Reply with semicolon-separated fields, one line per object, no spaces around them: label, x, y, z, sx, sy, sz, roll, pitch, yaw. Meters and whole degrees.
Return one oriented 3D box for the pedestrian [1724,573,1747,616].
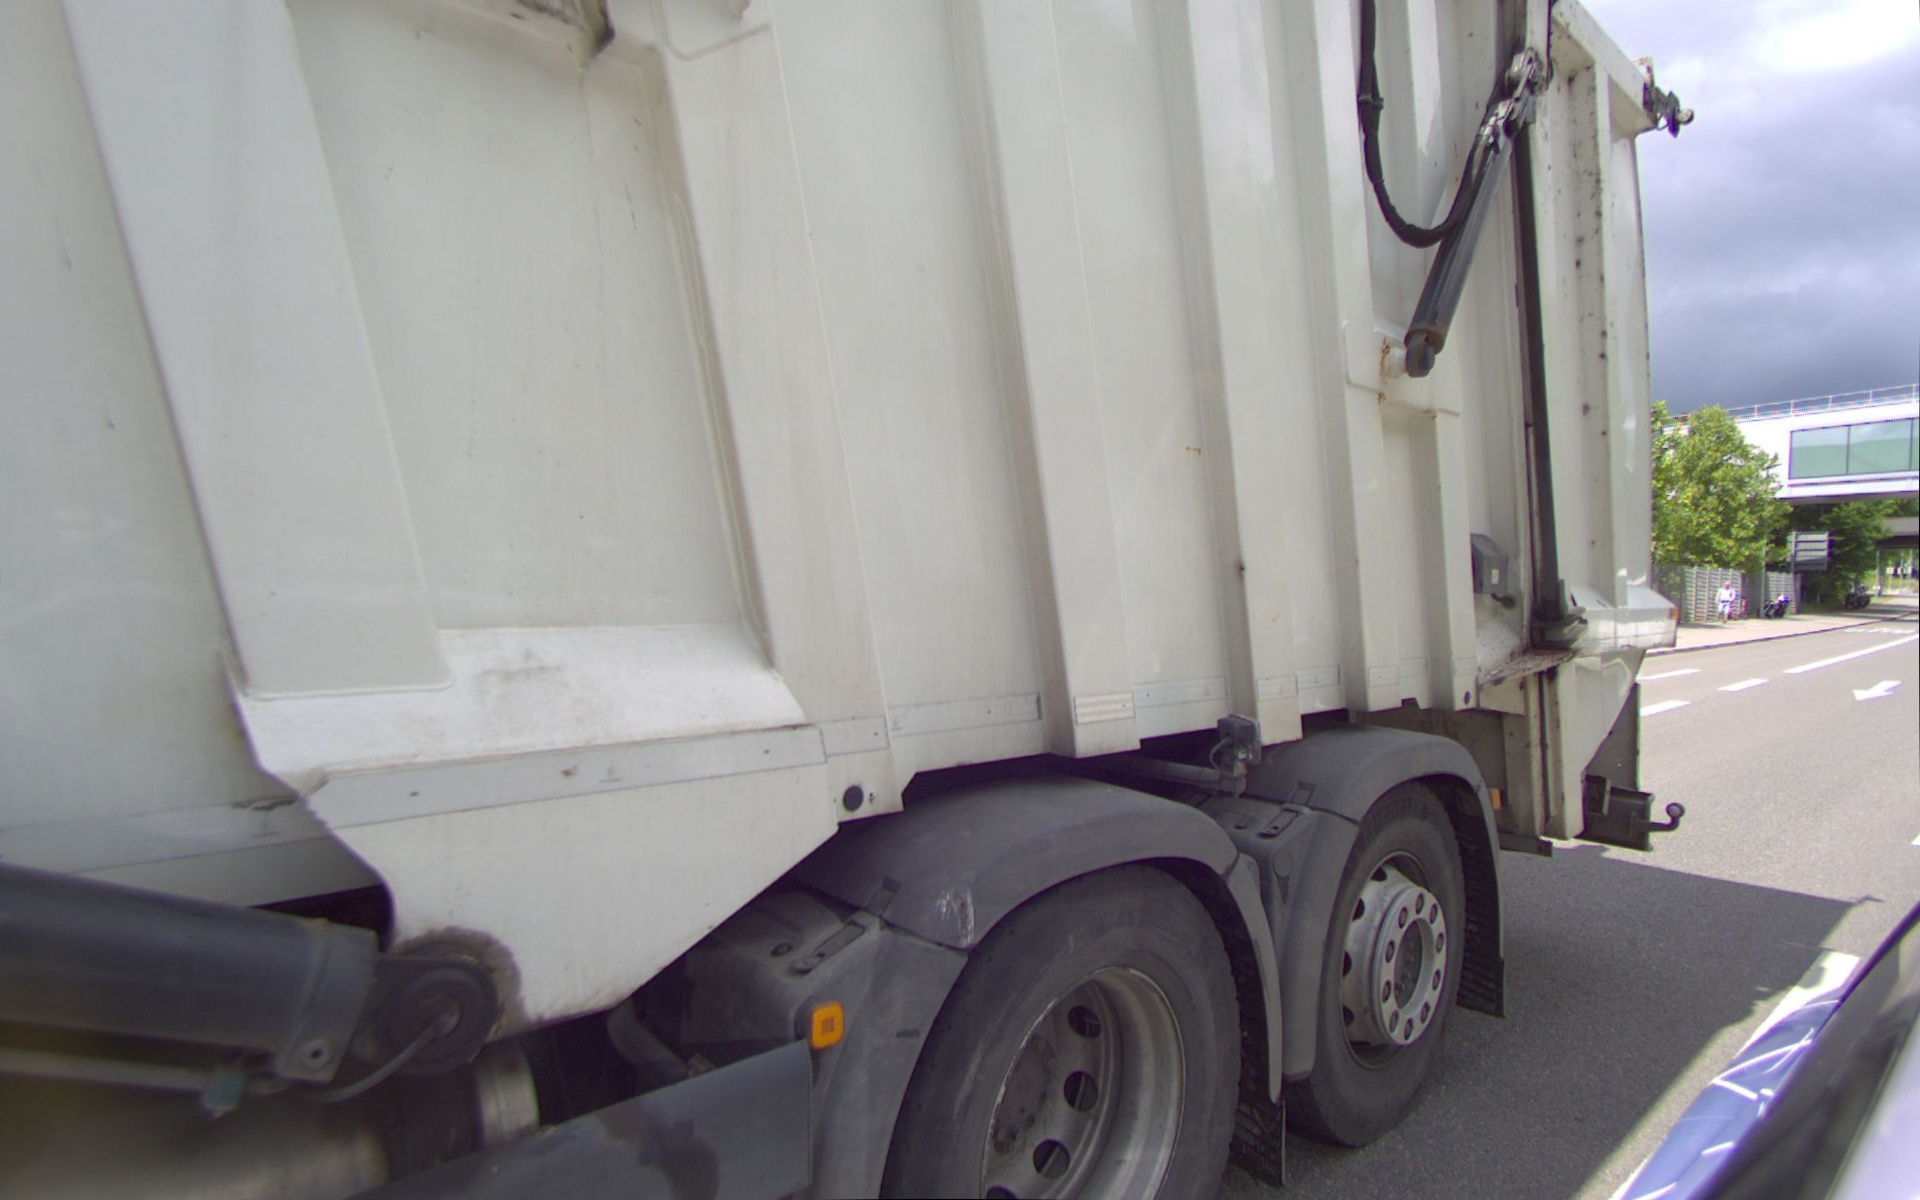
pedestrian;35.359;-0.269;46.125;0.647;1.936;0.738;0;0;-44

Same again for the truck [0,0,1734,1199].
truck;-0.842;-0.571;2.432;9.999;3.962;2.492;-1;0;-42
